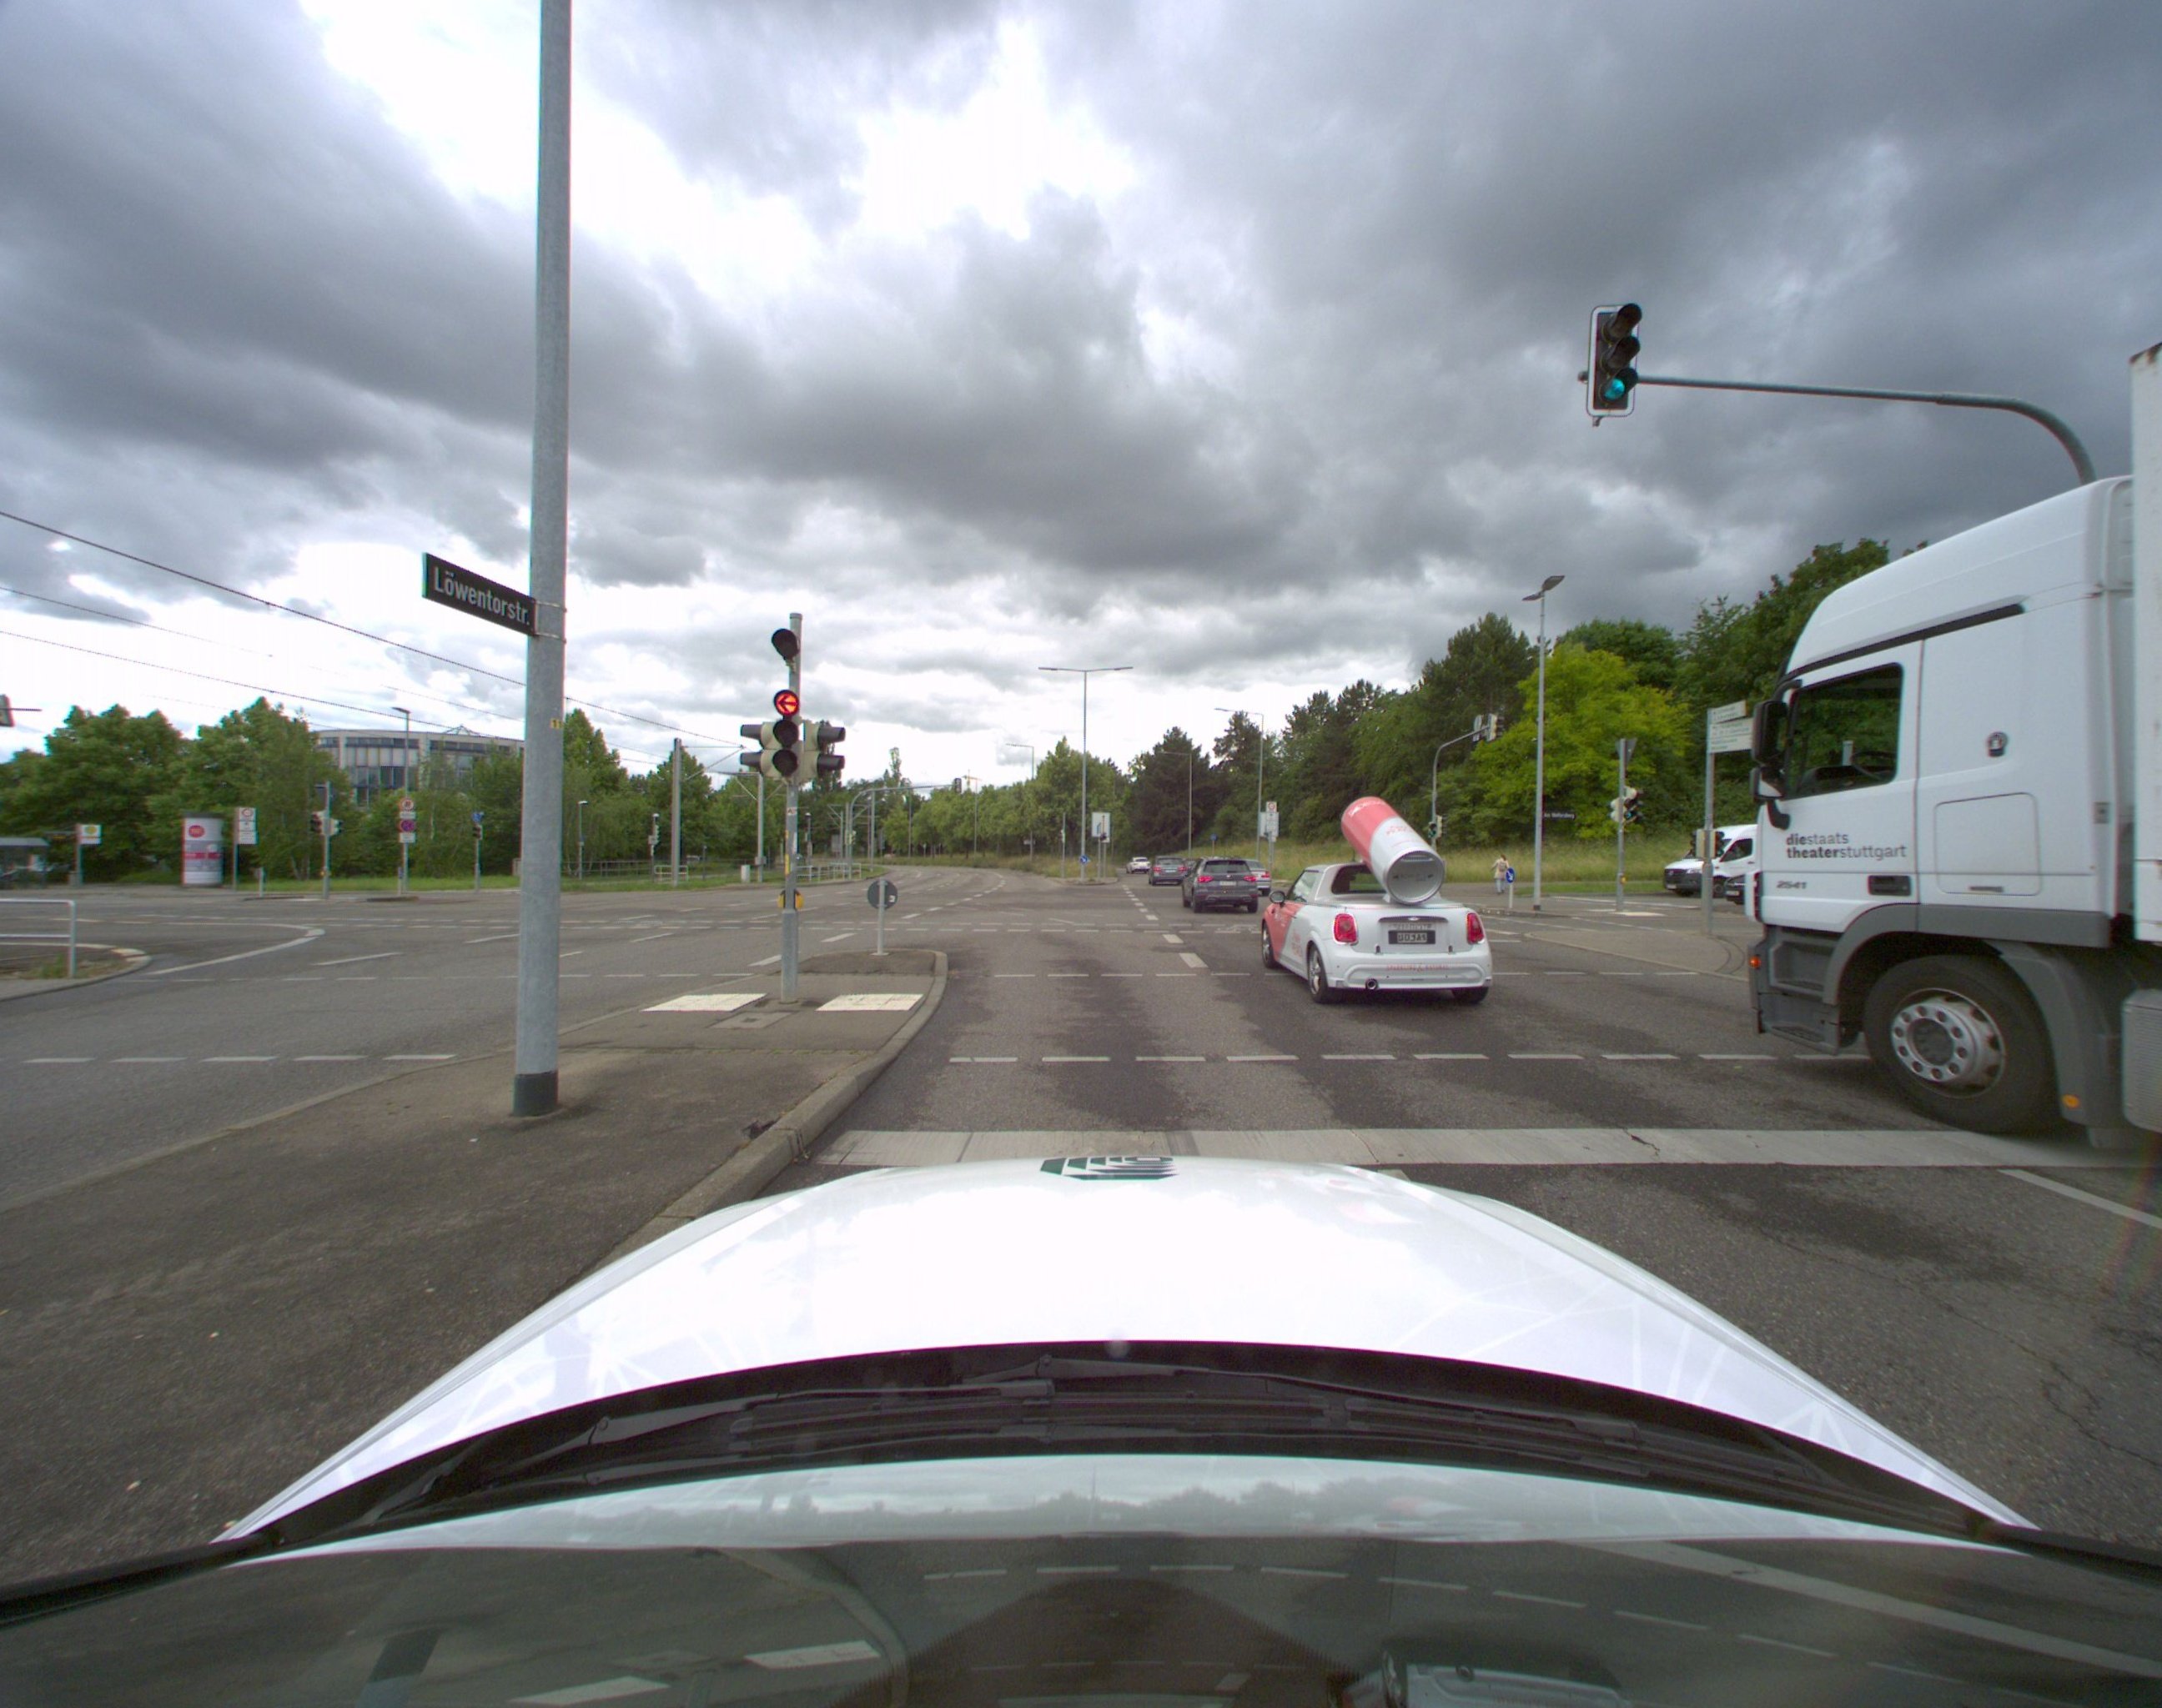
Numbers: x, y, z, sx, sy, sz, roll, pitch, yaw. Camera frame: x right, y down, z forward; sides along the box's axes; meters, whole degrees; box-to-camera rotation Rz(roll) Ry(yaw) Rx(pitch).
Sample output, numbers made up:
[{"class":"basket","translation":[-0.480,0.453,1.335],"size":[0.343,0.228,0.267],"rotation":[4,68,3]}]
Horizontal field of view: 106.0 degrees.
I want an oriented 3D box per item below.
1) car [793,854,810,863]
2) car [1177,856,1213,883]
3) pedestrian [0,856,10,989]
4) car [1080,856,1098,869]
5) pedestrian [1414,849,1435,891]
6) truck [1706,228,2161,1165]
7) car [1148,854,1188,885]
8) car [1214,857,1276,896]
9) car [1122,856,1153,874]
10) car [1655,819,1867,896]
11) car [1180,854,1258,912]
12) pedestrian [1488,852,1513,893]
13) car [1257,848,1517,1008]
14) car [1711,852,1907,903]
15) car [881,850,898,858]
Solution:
[{"class":"car","translation":[-53.655,0.849,156.491],"size":[1.810,1.587,3.954],"rotation":[0,-1,-39]},{"class":"car","translation":[6.934,0.928,50.037],"size":[1.740,1.485,4.358],"rotation":[0,1,2]},{"class":"pedestrian","translation":[-12.836,0.796,9.145],"size":[0.632,1.536,0.719],"rotation":[0,-1,-2]},{"class":"car","translation":[0.962,1.029,95.772],"size":[1.593,1.516,2.755],"rotation":[0,-1,-12]},{"class":"pedestrian","translation":[13.840,0.653,32.831],"size":[0.640,1.662,0.715],"rotation":[0,-1,8]},{"class":"truck","translation":[5.809,-0.644,0.857],"size":[2.792,3.903,10.187],"rotation":[0,0,2]},{"class":"car","translation":[4.468,0.782,42.244],"size":[1.740,1.508,4.049],"rotation":[0,0,1]},{"class":"car","translation":[6.442,0.848,32.406],"size":[1.740,1.382,4.292],"rotation":[0,0,2]},{"class":"car","translation":[4.993,0.975,72.492],"size":[1.843,1.506,4.518],"rotation":[0,-1,-8]},{"class":"car","translation":[24.250,0.152,29.241],"size":[5.780,2.630,2.002],"rotation":[0,-1,3]},{"class":"car","translation":[3.800,0.749,22.956],"size":[1.618,1.493,3.838],"rotation":[0,0,1]},{"class":"pedestrian","translation":[16.421,0.721,31.863],"size":[0.640,1.612,0.715],"rotation":[0,-1,7]},{"class":"car","translation":[3.265,0.689,9.439],"size":[1.814,1.506,3.496],"rotation":[0,0,2]},{"class":"car","translation":[20.290,0.646,22.827],"size":[3.859,1.338,1.698],"rotation":[0,-1,4]},{"class":"car","translation":[-36.650,0.032,155.928],"size":[1.798,1.603,3.844],"rotation":[0,-1,-37]}]
